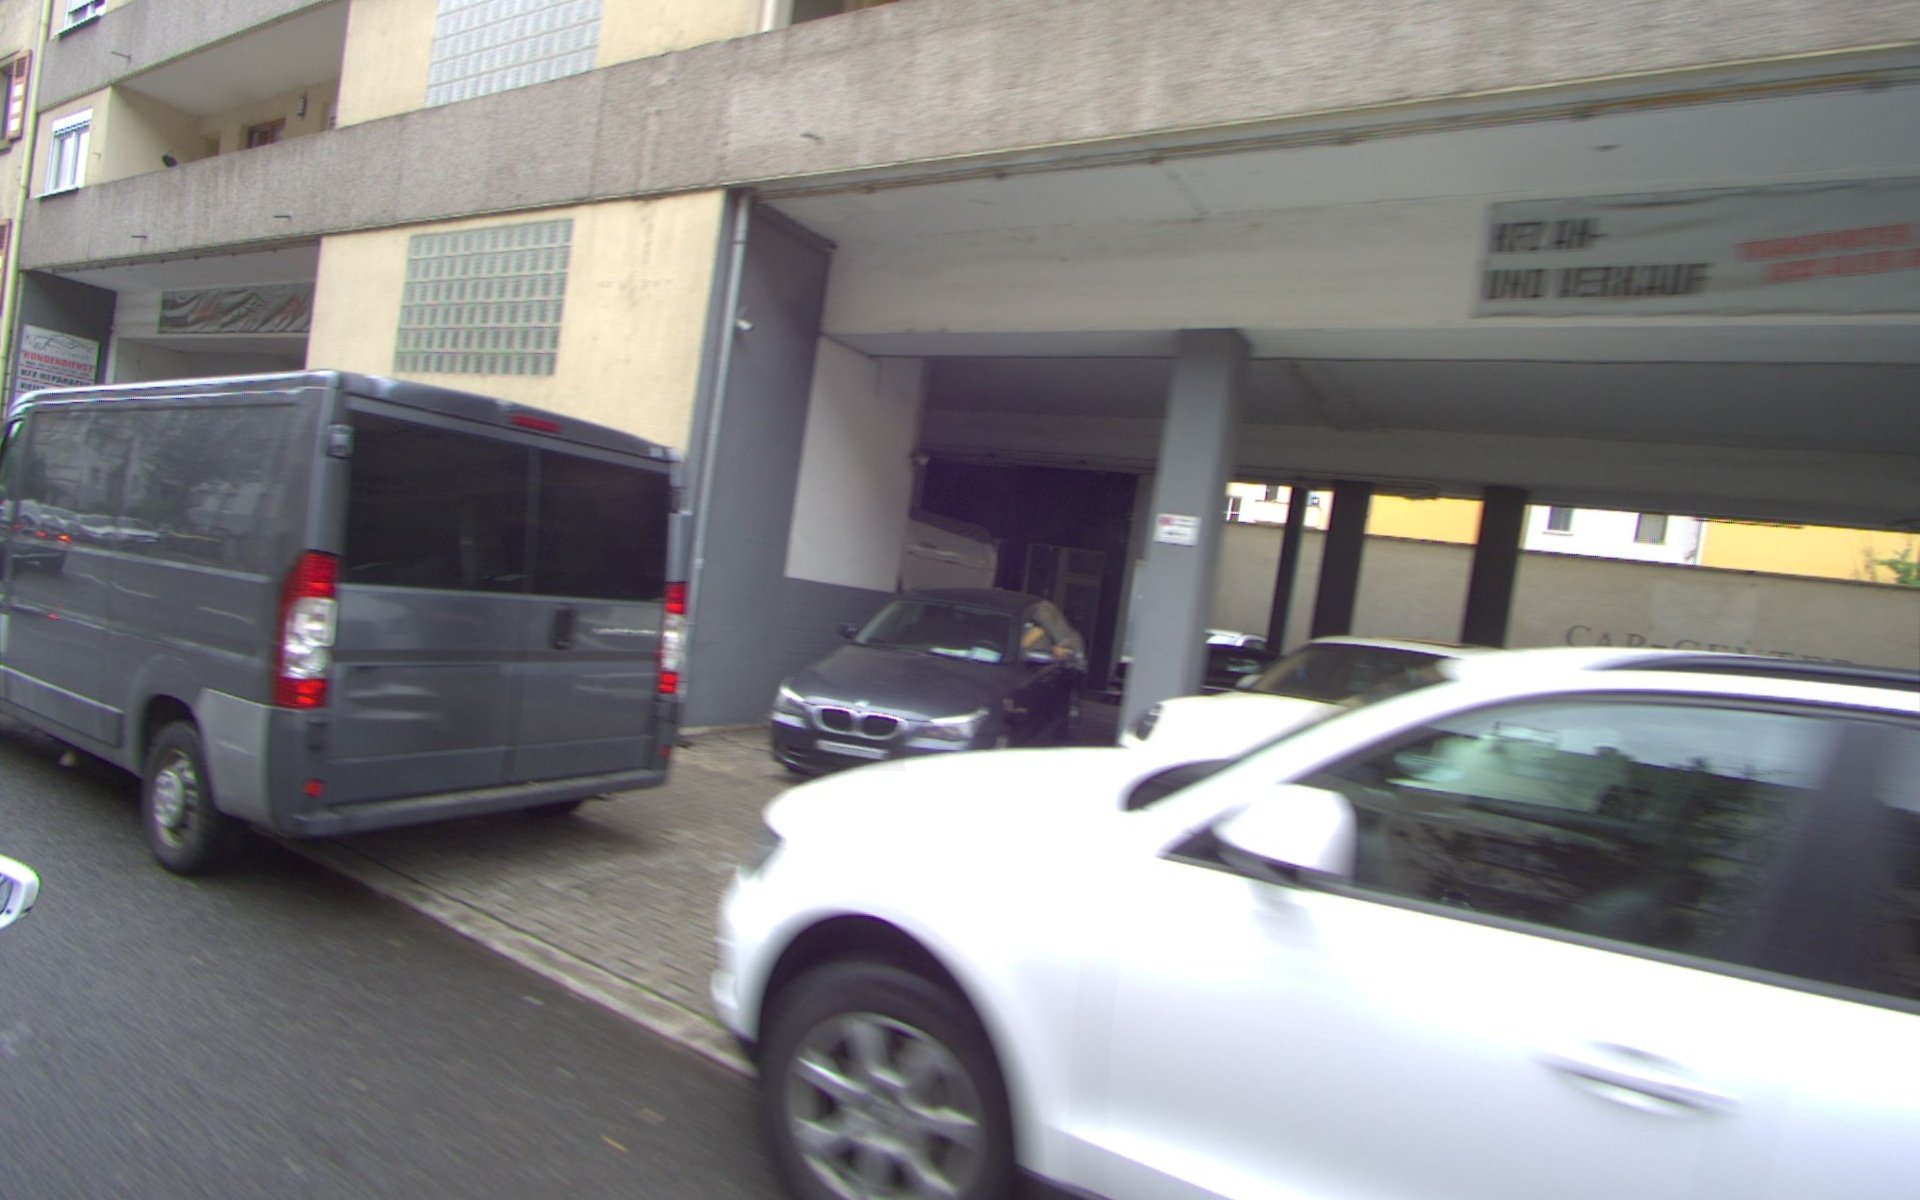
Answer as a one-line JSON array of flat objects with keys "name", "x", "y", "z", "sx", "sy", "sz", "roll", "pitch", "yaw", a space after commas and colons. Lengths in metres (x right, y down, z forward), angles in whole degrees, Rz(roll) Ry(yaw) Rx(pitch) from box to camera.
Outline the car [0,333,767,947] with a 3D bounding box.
[{"name": "car", "x": -3.988, "y": -0.051, "z": 5.894, "sx": 5.419, "sy": 2.176, "sz": 2.156, "roll": 7, "pitch": 0, "yaw": 32}]

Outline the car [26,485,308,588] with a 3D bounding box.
[{"name": "car", "x": -14.775, "y": -1.133, "z": 18.948, "sx": 1.865, "sy": 1.409, "sz": 3.657, "roll": 9, "pitch": 2, "yaw": 27}]

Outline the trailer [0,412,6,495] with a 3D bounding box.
[{"name": "trailer", "x": -12.071, "y": -1.104, "z": 10.536, "sx": 4.991, "sy": 2.180, "sz": 1.993, "roll": 8, "pitch": 2, "yaw": 35}]

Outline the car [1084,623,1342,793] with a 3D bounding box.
[{"name": "car", "x": 3.003, "y": 1.152, "z": 11.376, "sx": 1.712, "sy": 1.414, "sz": 3.655, "roll": 6, "pitch": -1, "yaw": 31}]

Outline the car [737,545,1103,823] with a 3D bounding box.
[{"name": "car", "x": -0.039, "y": 0.626, "z": 8.945, "sx": 1.764, "sy": 1.676, "sz": 4.243, "roll": 7, "pitch": 0, "yaw": 17}]

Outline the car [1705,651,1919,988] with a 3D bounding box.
[{"name": "car", "x": 6.594, "y": 1.368, "z": 6.524, "sx": 3.925, "sy": 1.662, "sz": 1.793, "roll": 6, "pitch": 1, "yaw": -39}]

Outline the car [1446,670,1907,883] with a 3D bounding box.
[{"name": "car", "x": 6.957, "y": 1.629, "z": 10.314, "sx": 1.711, "sy": 1.414, "sz": 3.658, "roll": 7, "pitch": -1, "yaw": -8}]

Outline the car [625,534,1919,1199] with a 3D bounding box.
[{"name": "car", "x": 1.382, "y": 0.912, "z": 2.415, "sx": 4.202, "sy": 1.660, "sz": 1.748, "roll": 7, "pitch": 0, "yaw": 32}]

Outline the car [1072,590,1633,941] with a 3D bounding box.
[{"name": "car", "x": 2.905, "y": 1.003, "z": 7.053, "sx": 4.003, "sy": 1.662, "sz": 1.793, "roll": 6, "pitch": 1, "yaw": -39}]

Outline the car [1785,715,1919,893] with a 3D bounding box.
[{"name": "car", "x": 9.437, "y": 2.000, "z": 8.808, "sx": 1.631, "sy": 1.450, "sz": 3.420, "roll": 8, "pitch": 0, "yaw": 5}]
